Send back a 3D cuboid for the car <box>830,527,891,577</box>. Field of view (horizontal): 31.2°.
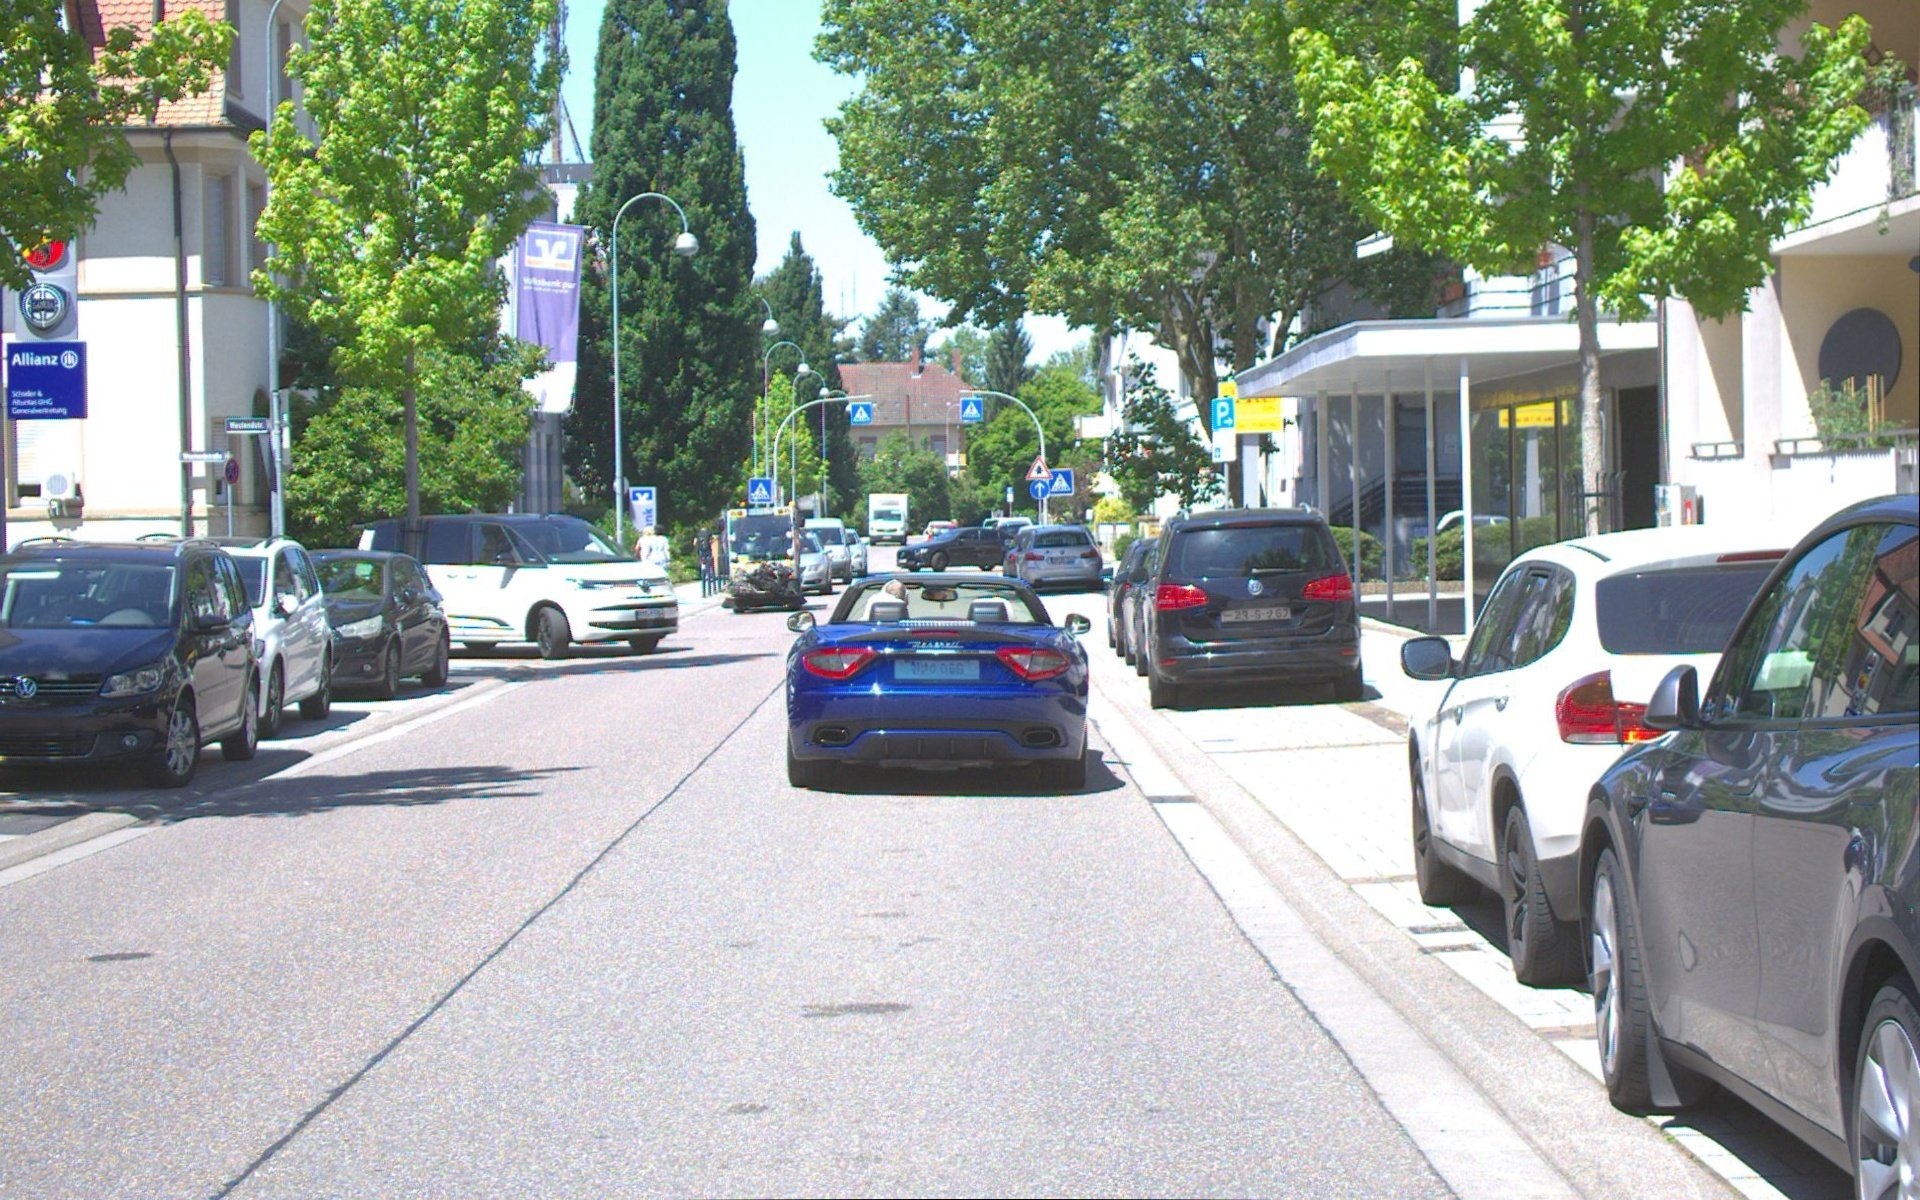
[{"bbox_3d":[-3.002,-1.482,104.864,1.769,1.471,4.138,-1,1,-1],"label":"car"}]

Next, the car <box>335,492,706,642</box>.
[{"bbox_3d":[-5.928,-0.431,46.100,4.899,1.916,1.909,0,1,35],"label":"car"}]

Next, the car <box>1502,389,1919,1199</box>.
[{"bbox_3d":[2.451,0.462,7.550,1.764,1.700,4.706,-1,1,0],"label":"car"}]

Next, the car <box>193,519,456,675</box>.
[{"bbox_3d":[-6.550,-0.070,35.870,1.754,1.469,4.321,2,1,2],"label":"car"}]

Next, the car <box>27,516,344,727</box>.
[{"bbox_3d":[-6.583,0.120,29.668,1.824,1.614,4.393,2,2,-2],"label":"car"}]

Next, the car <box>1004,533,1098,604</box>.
[{"bbox_3d":[2.019,-0.735,77.784,1.976,1.445,4.349,-1,2,0],"label":"car"}]

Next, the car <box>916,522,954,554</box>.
[{"bbox_3d":[-1.216,-2.967,164.146,1.769,1.471,4.138,1,1,-1],"label":"car"}]

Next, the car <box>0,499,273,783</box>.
[{"bbox_3d":[-6.117,0.202,24.151,1.728,1.734,4.393,3,1,-2],"label":"car"}]

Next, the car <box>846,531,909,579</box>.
[{"bbox_3d":[-2.624,-1.469,110.146,1.950,1.471,4.138,-1,1,-1],"label":"car"}]

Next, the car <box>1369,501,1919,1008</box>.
[{"bbox_3d":[2.617,0.457,12.934,1.722,1.578,4.225,-1,1,1],"label":"car"}]

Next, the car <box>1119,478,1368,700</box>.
[{"bbox_3d":[2.484,-0.170,31.159,1.993,1.792,4.569,-1,3,2],"label":"car"}]

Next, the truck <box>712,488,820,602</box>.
[{"bbox_3d":[-3.716,-1.092,66.465,1.804,2.110,4.715,-1,2,0],"label":"truck"}]

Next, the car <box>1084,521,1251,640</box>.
[{"bbox_3d":[2.581,-0.260,43.618,1.845,1.409,4.163,-1,1,0],"label":"car"}]

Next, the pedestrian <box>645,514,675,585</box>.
[{"bbox_3d":[-6.732,-1.133,77.178,0.587,1.569,0.781,1,1,-1],"label":"pedestrian"}]

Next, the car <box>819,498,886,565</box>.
[{"bbox_3d":[-2.923,-1.897,93.987,1.769,1.761,4.138,-1,2,-2],"label":"car"}]

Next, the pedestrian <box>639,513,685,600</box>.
[{"bbox_3d":[-6.684,-0.982,77.192,0.849,1.909,0.761,0,3,7],"label":"pedestrian"}]

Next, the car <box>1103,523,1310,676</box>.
[{"bbox_3d":[2.597,-0.028,37.216,1.894,1.525,4.569,-1,1,0],"label":"car"}]

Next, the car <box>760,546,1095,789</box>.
[{"bbox_3d":[-0.233,0.367,22.764,1.976,1.393,4.627,1,1,-1],"label":"car"}]
